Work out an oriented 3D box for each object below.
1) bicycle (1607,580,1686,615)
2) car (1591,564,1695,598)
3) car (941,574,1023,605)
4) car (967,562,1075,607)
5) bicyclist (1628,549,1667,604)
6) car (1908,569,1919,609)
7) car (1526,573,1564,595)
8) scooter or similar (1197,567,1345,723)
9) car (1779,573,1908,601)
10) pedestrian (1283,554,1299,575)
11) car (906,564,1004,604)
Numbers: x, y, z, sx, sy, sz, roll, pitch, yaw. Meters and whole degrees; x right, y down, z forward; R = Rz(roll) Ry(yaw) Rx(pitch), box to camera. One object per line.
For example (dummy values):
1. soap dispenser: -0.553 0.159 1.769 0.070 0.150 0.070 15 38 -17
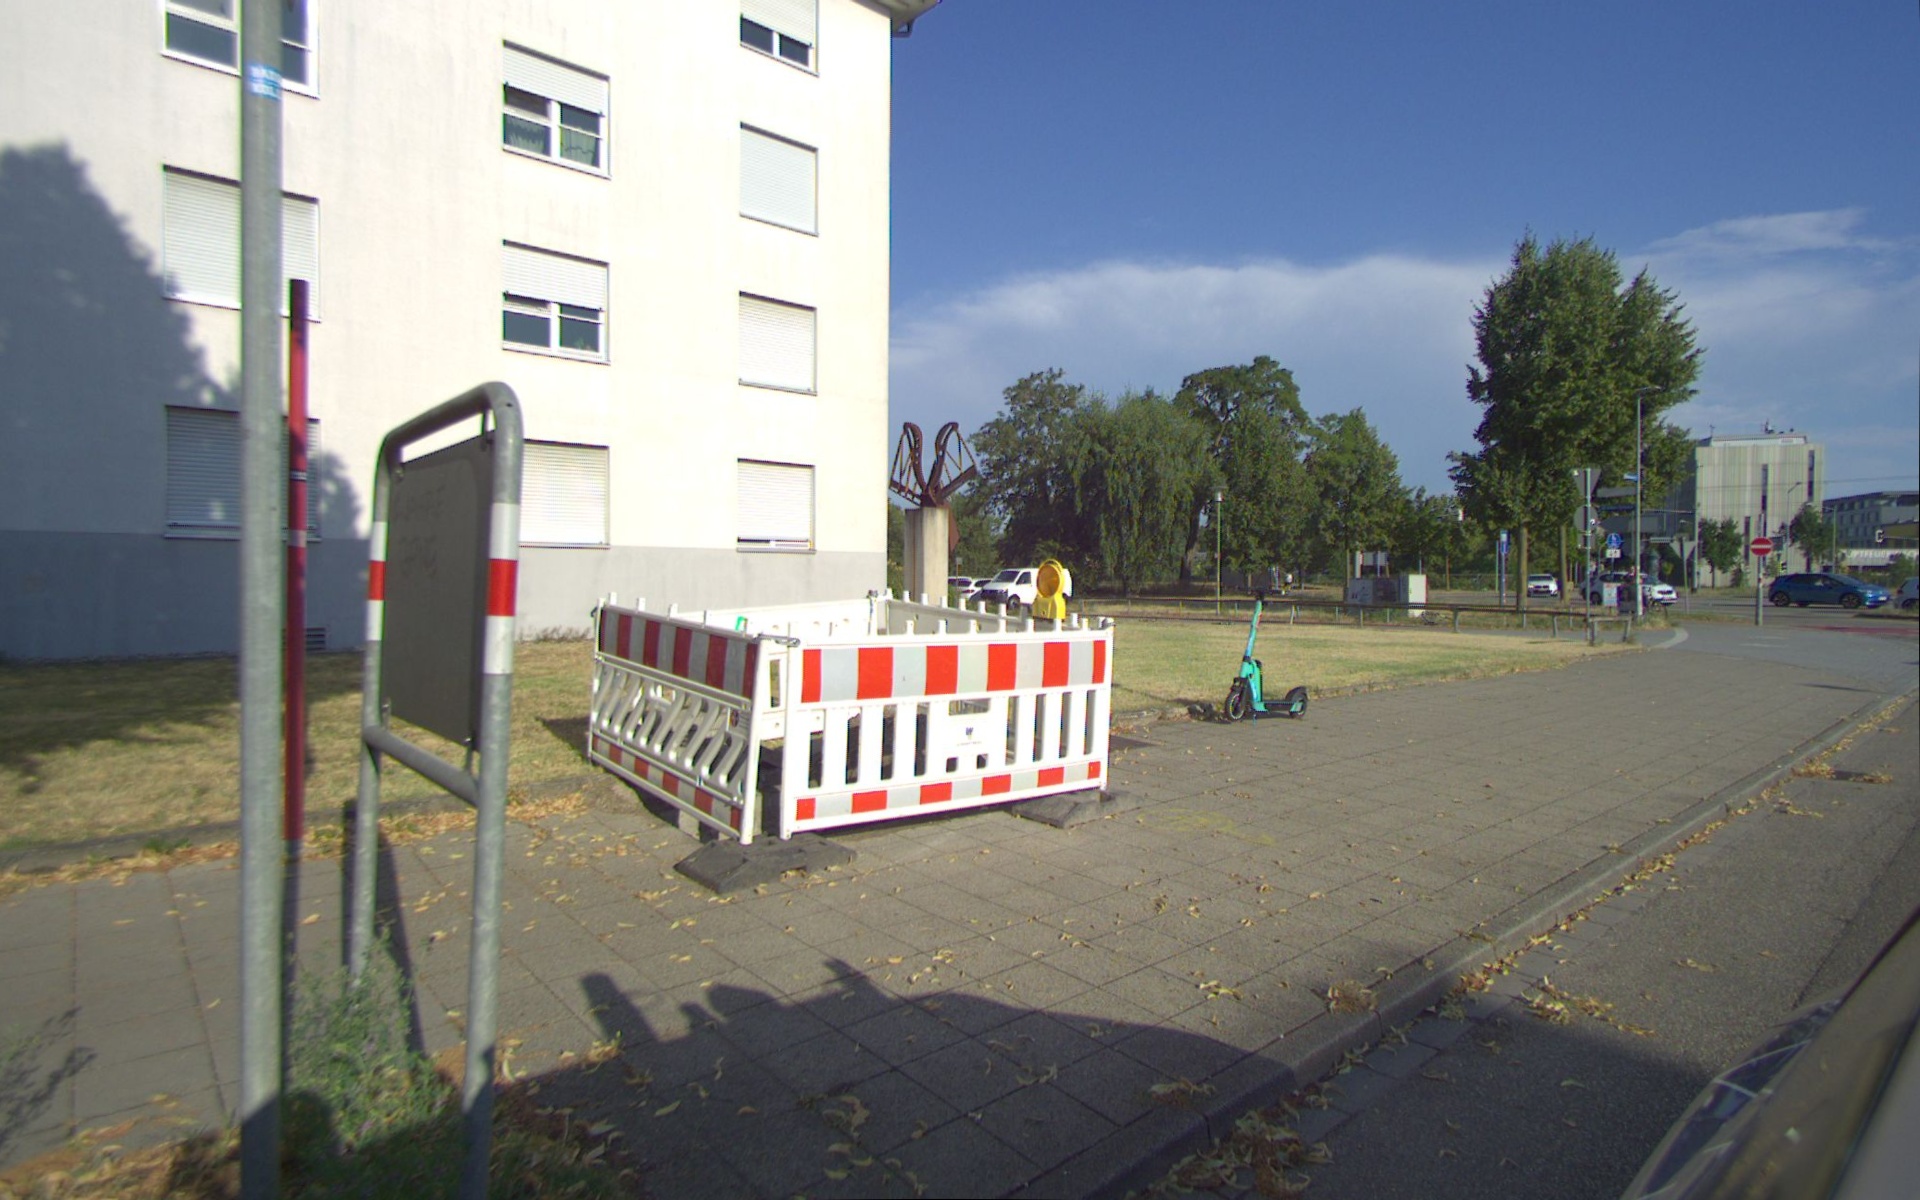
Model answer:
1. bicycle: 23.154 -0.093 34.171 0.630 1.137 2.122 -1 2 -41
2. car: 33.366 -0.953 49.591 1.873 1.570 4.056 0 2 -11
3. car: 1.127 -0.572 50.747 3.931 1.461 1.868 -2 2 -42
4. car: 3.015 -0.812 49.229 5.129 2.038 2.266 -3 3 -41
5. bicyclist: 23.175 -0.810 34.102 0.716 1.823 0.937 -1 2 -41
6. car: 38.445 -0.385 37.829 1.961 1.542 4.004 0 2 -31
7. car: 39.102 -1.070 67.735 2.076 1.401 4.545 1 2 28
8. scooter or similar: 2.898 0.374 9.386 1.437 1.307 0.560 -1 5 -41
9. car: 38.865 -0.601 44.655 1.610 1.193 4.009 0 2 -19
10. pedestrian: 22.874 -2.462 69.936 0.753 1.408 0.653 0 2 -38
11. car: -0.240 -0.901 53.544 4.971 2.038 2.266 -2 3 -41
